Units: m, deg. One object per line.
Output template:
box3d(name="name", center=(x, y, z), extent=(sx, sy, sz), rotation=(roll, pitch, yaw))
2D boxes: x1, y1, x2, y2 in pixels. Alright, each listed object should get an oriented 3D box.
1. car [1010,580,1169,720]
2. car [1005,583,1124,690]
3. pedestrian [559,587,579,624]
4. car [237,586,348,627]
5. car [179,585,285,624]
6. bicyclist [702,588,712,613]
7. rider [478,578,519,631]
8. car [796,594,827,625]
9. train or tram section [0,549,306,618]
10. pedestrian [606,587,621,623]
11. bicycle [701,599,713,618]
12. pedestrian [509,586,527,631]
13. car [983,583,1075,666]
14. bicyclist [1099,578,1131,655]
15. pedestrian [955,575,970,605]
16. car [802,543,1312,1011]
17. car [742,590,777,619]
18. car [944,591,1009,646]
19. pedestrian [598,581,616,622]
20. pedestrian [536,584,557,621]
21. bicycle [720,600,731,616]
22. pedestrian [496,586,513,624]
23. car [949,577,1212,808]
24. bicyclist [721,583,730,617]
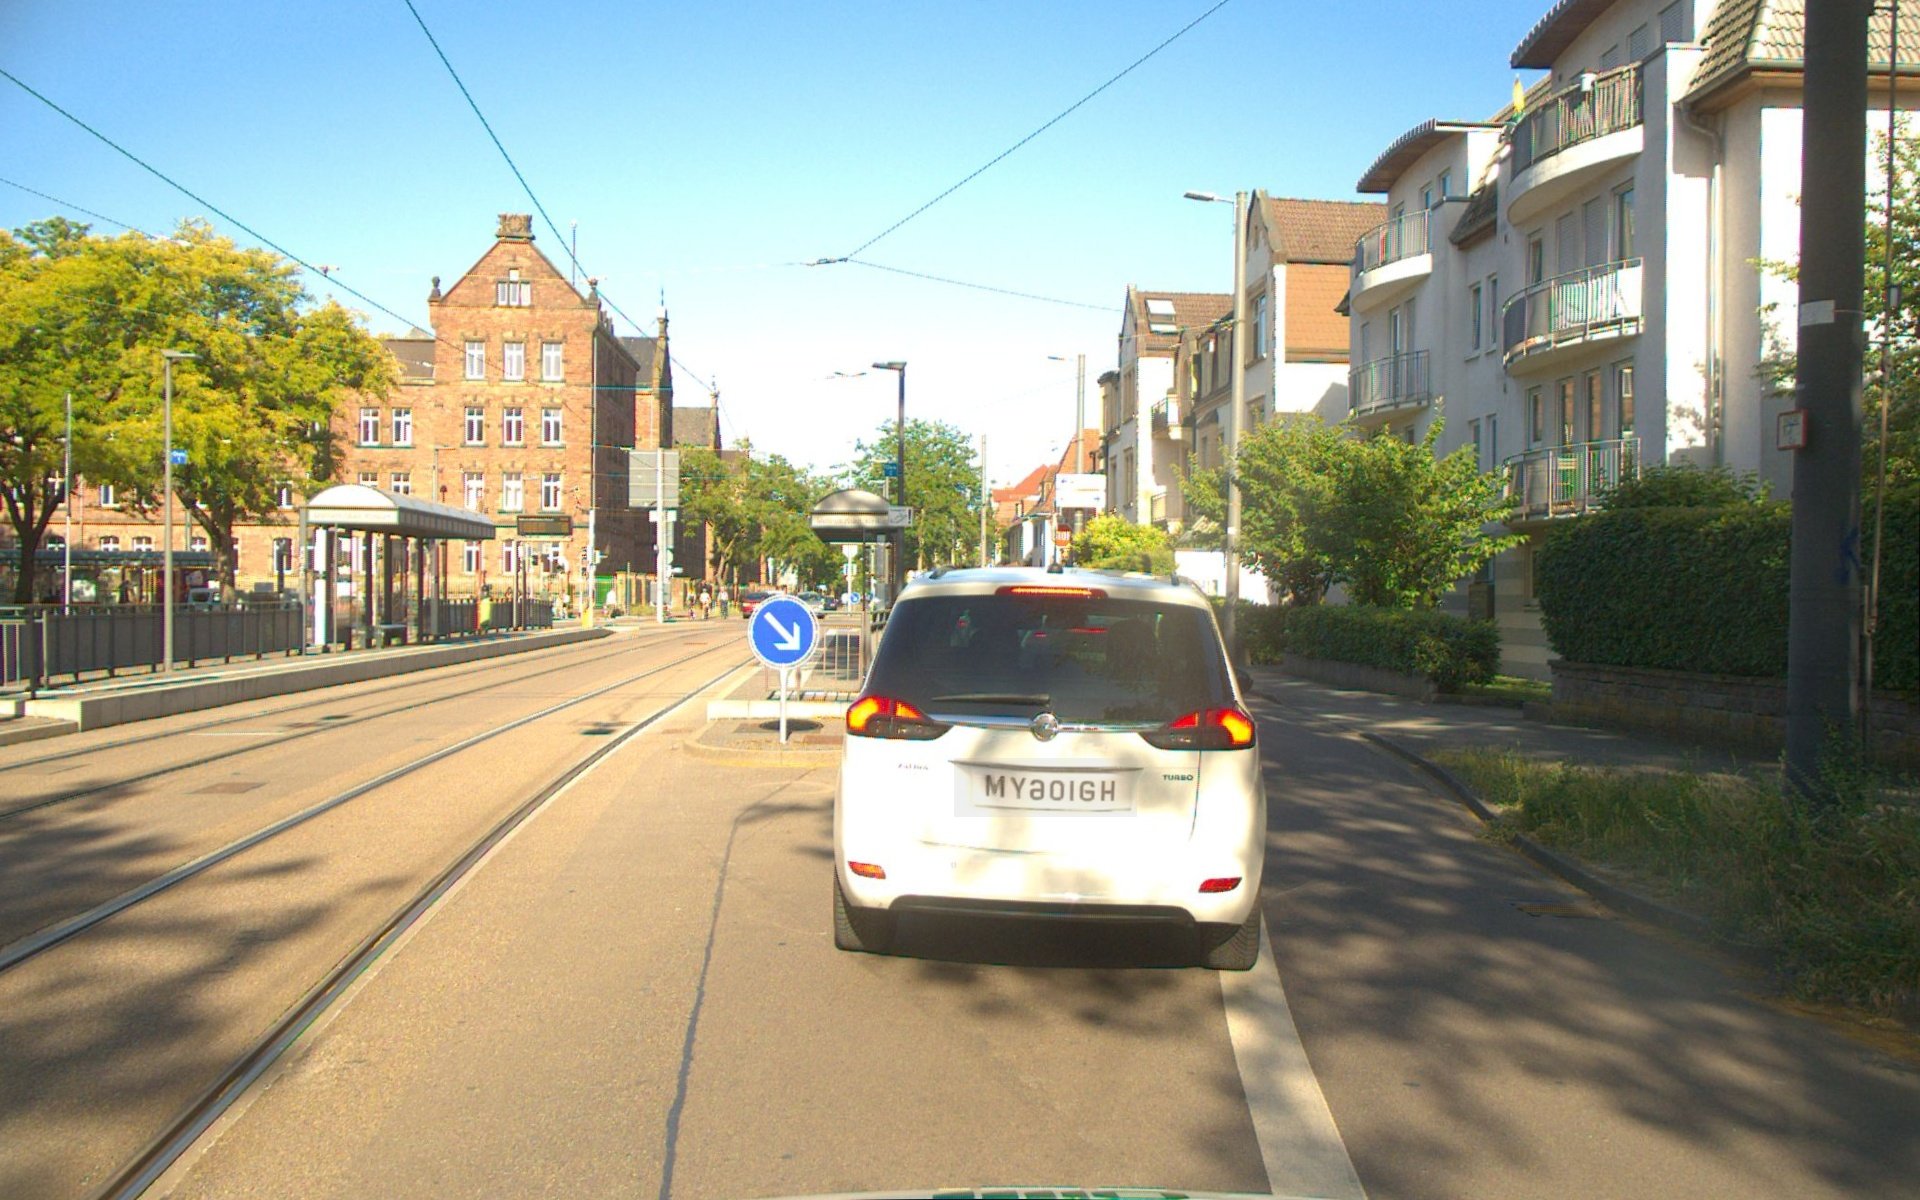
box3d(name="car", center=(1.752, 0.582, 21.616), extent=(1.866, 1.653, 4.003), rotation=(0, 0, 6))
box3d(name="car", center=(1.792, 0.573, 28.277), extent=(1.867, 1.690, 4.002), rotation=(0, 0, 4))
box3d(name="pedestrian", center=(-22.137, 0.325, 93.694), extent=(0.704, 2.049, 0.796), rotation=(1, -1, 27))
box3d(name="car", center=(-28.116, 0.266, 69.734), extent=(3.908, 1.658, 1.817), rotation=(1, 0, -4))
box3d(name="car", center=(-32.448, 0.220, 73.806), extent=(3.908, 1.658, 1.817), rotation=(1, 0, -4))
box3d(name="bicyclist", center=(-15.423, 0.031, 100.931), extent=(0.520, 1.503, 0.572), rotation=(1, -1, -1))
box3d(name="rider", center=(-16.036, 0.159, 57.527), extent=(0.779, 1.813, 2.486), rotation=(1, 0, -2))
box3d(name="car", center=(-8.618, 0.540, 96.166), extent=(1.712, 1.746, 3.995), rotation=(1, 0, -5))
box3d(name="train or tram section", center=(-40.750, -0.761, 79.408), extent=(17.048, 3.210, 3.343), rotation=(0, 0, -6))
box3d(name="pedestrian", center=(-20.184, 0.295, 96.282), extent=(0.675, 2.049, 0.618), rotation=(1, -1, 4))
box3d(name="bicycle", center=(-15.437, 0.520, 100.965), extent=(0.498, 1.096, 1.738), rotation=(1, 0, -1))
box3d(name="pedestrian", center=(-20.675, 0.397, 77.360), extent=(0.781, 2.049, 1.042), rotation=(1, -1, -15))
box3d(name="car", center=(1.448, 0.499, 36.110), extent=(1.868, 1.690, 4.000), rotation=(0, 0, 0))
box3d(name="bicyclist", center=(3.453, 0.367, 36.894), extent=(0.662, 1.687, 0.745), rotation=(0, 0, 1))
box3d(name="pedestrian", center=(0.163, -0.626, 105.444), extent=(0.790, 1.934, 0.744), rotation=(1, -1, 13))
box3d(name="car", center=(0.565, 0.629, 8.076), extent=(1.866, 1.690, 4.003), rotation=(0, 0, 6))
box3d(name="car", center=(-12.421, 0.280, 102.867), extent=(1.711, 1.746, 3.999), rotation=(1, 0, -1))
box3d(name="car", center=(0.503, 0.549, 53.072), extent=(1.869, 1.690, 3.998), rotation=(0, 0, -2))
box3d(name="pedestrian", center=(-18.085, 0.083, 84.680), extent=(0.782, 2.049, 0.717), rotation=(1, -1, -18))
box3d(name="pedestrian", center=(-21.835, 0.137, 87.343), extent=(0.791, 1.934, 0.744), rotation=(1, -1, 13))
box3d(name="bicycle", center=(-14.299, 0.498, 100.891), extent=(0.477, 0.988, 1.405), rotation=(1, 0, -1))
box3d(name="pedestrian", center=(-21.976, 0.250, 79.787), extent=(0.754, 1.805, 0.717), rotation=(1, -1, -18))
box3d(name="car", center=(1.072, 0.645, 13.765), extent=(1.866, 1.625, 4.003), rotation=(0, 0, 6))
box3d(name="bicyclist", center=(-14.299, -0.001, 100.940), extent=(0.478, 2.049, 0.502), rotation=(1, -1, -1))
